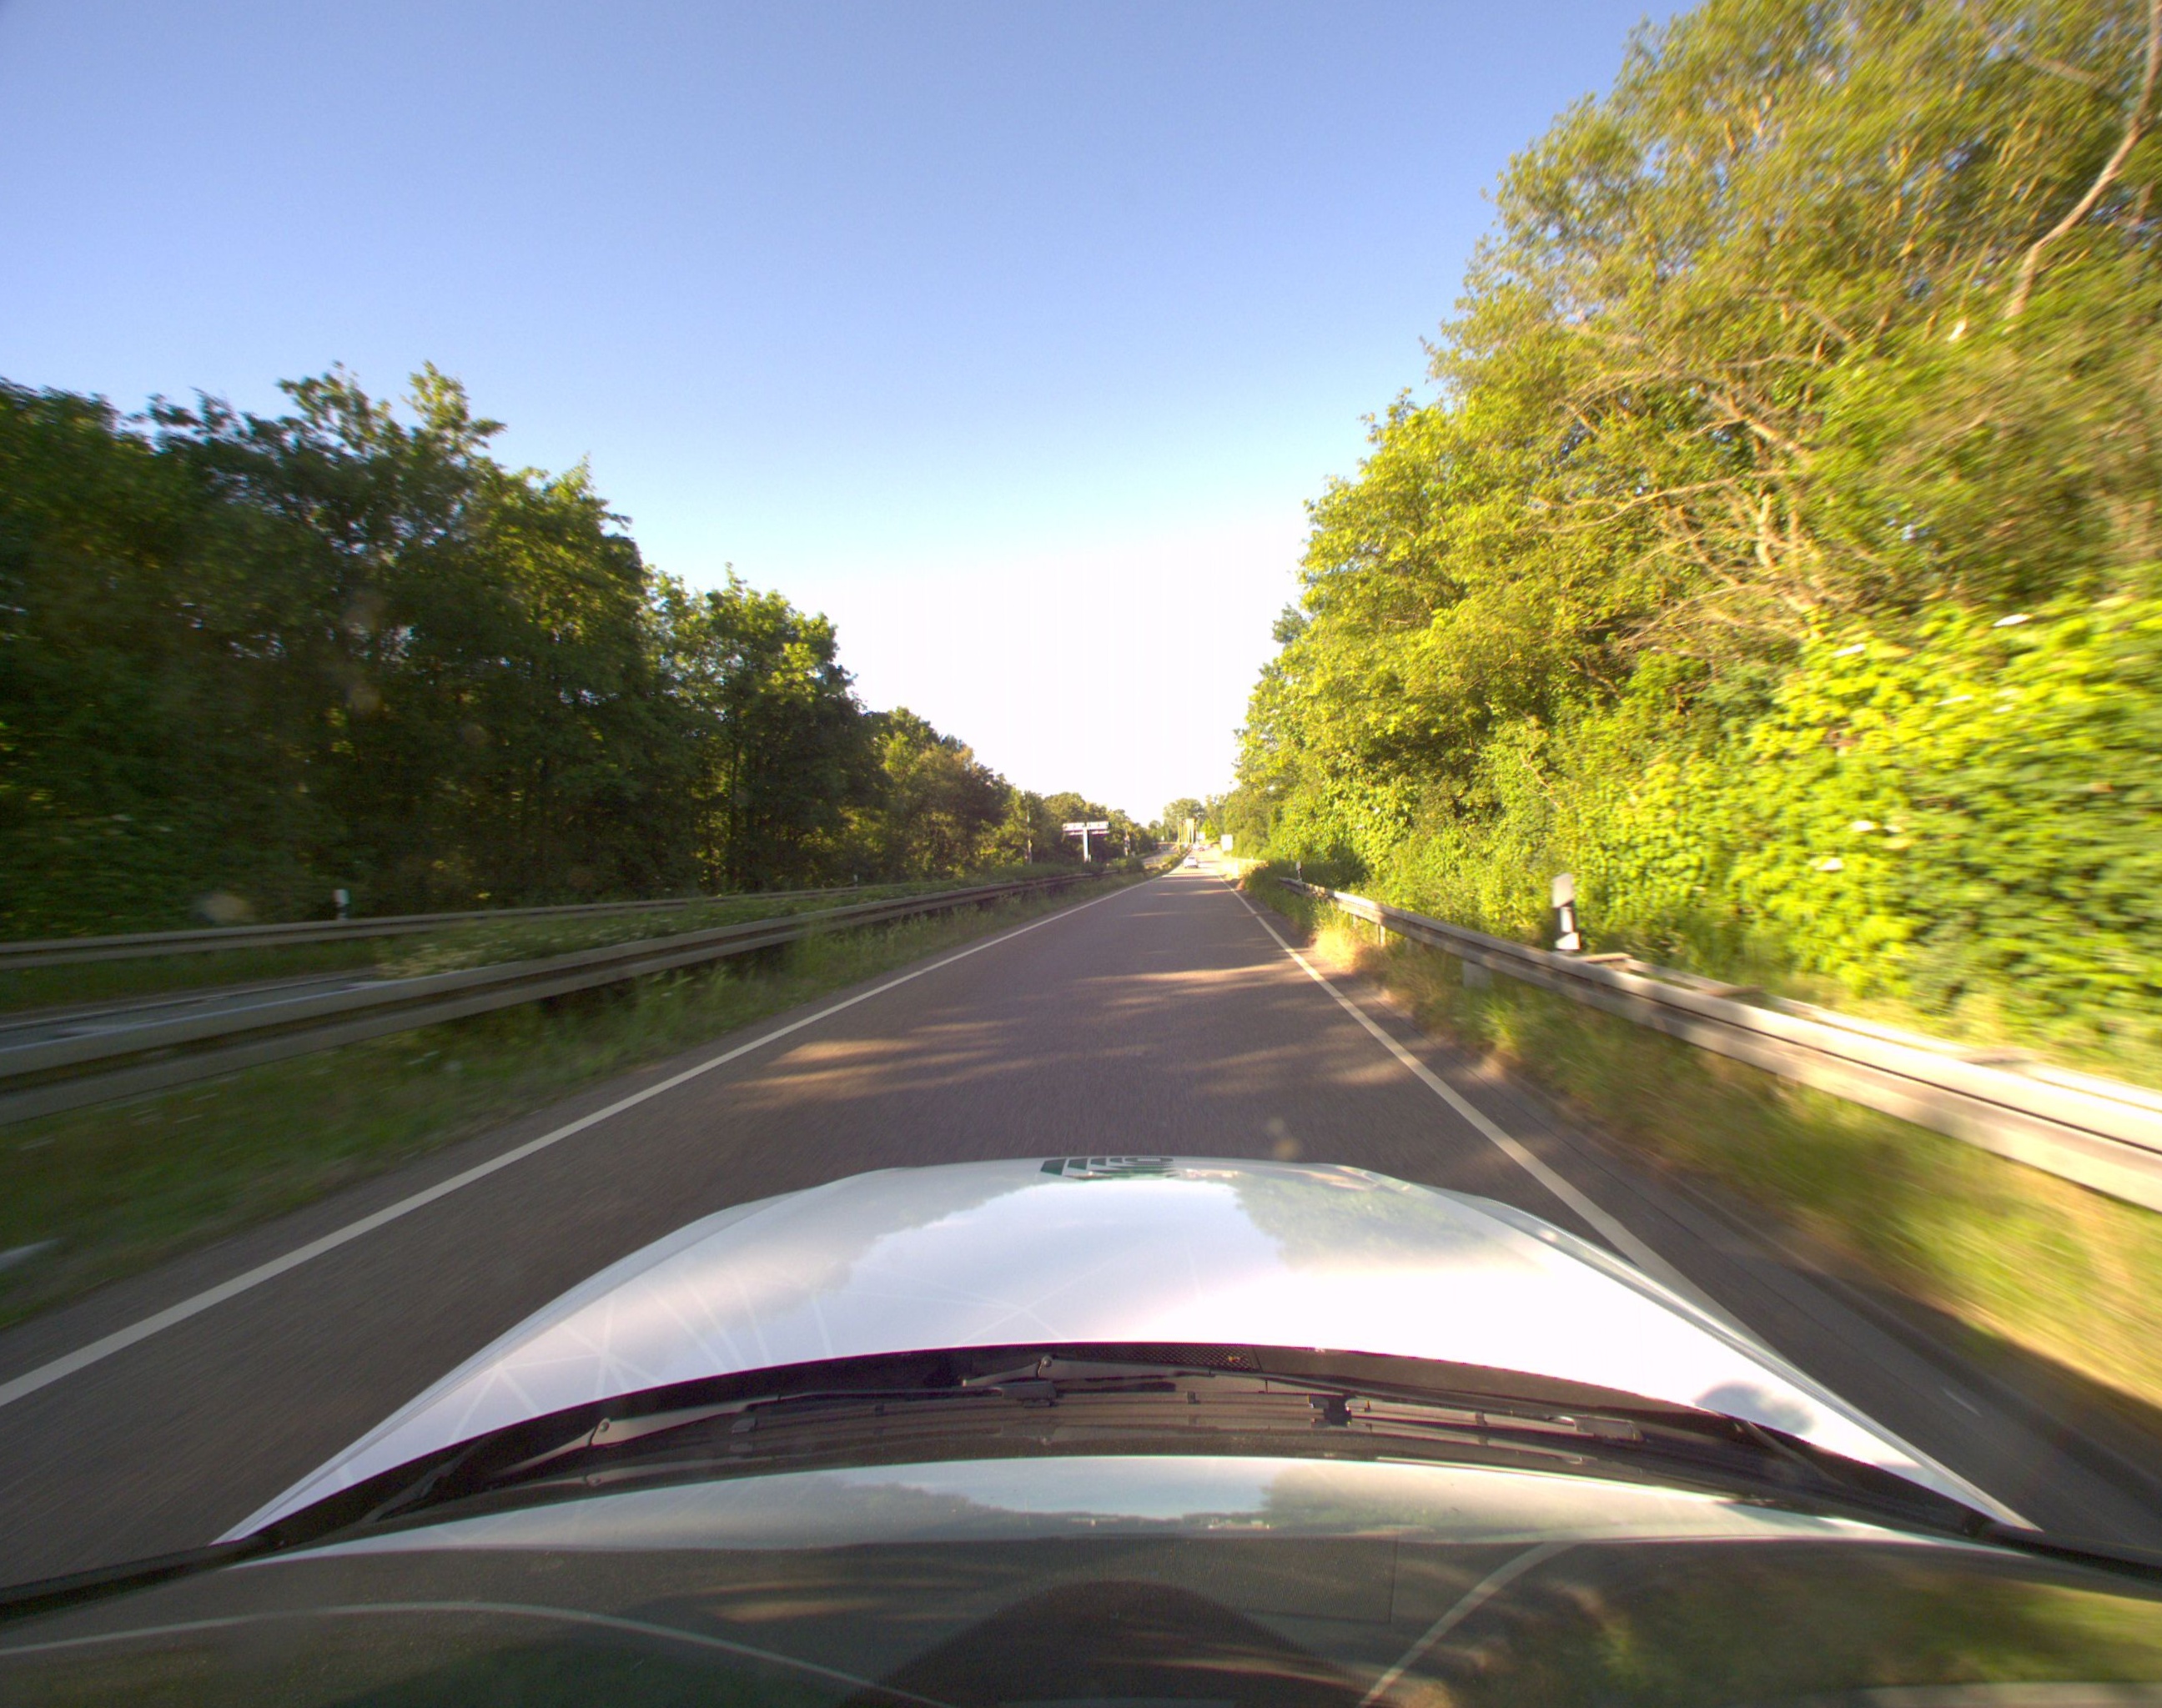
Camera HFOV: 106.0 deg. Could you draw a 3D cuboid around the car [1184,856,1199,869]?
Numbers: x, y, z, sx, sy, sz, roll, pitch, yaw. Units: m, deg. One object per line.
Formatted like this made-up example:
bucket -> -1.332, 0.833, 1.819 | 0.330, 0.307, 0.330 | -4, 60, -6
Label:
car -> 15.671, 1.199, 115.461 | 1.876, 1.816, 4.006 | 0, 0, 5
